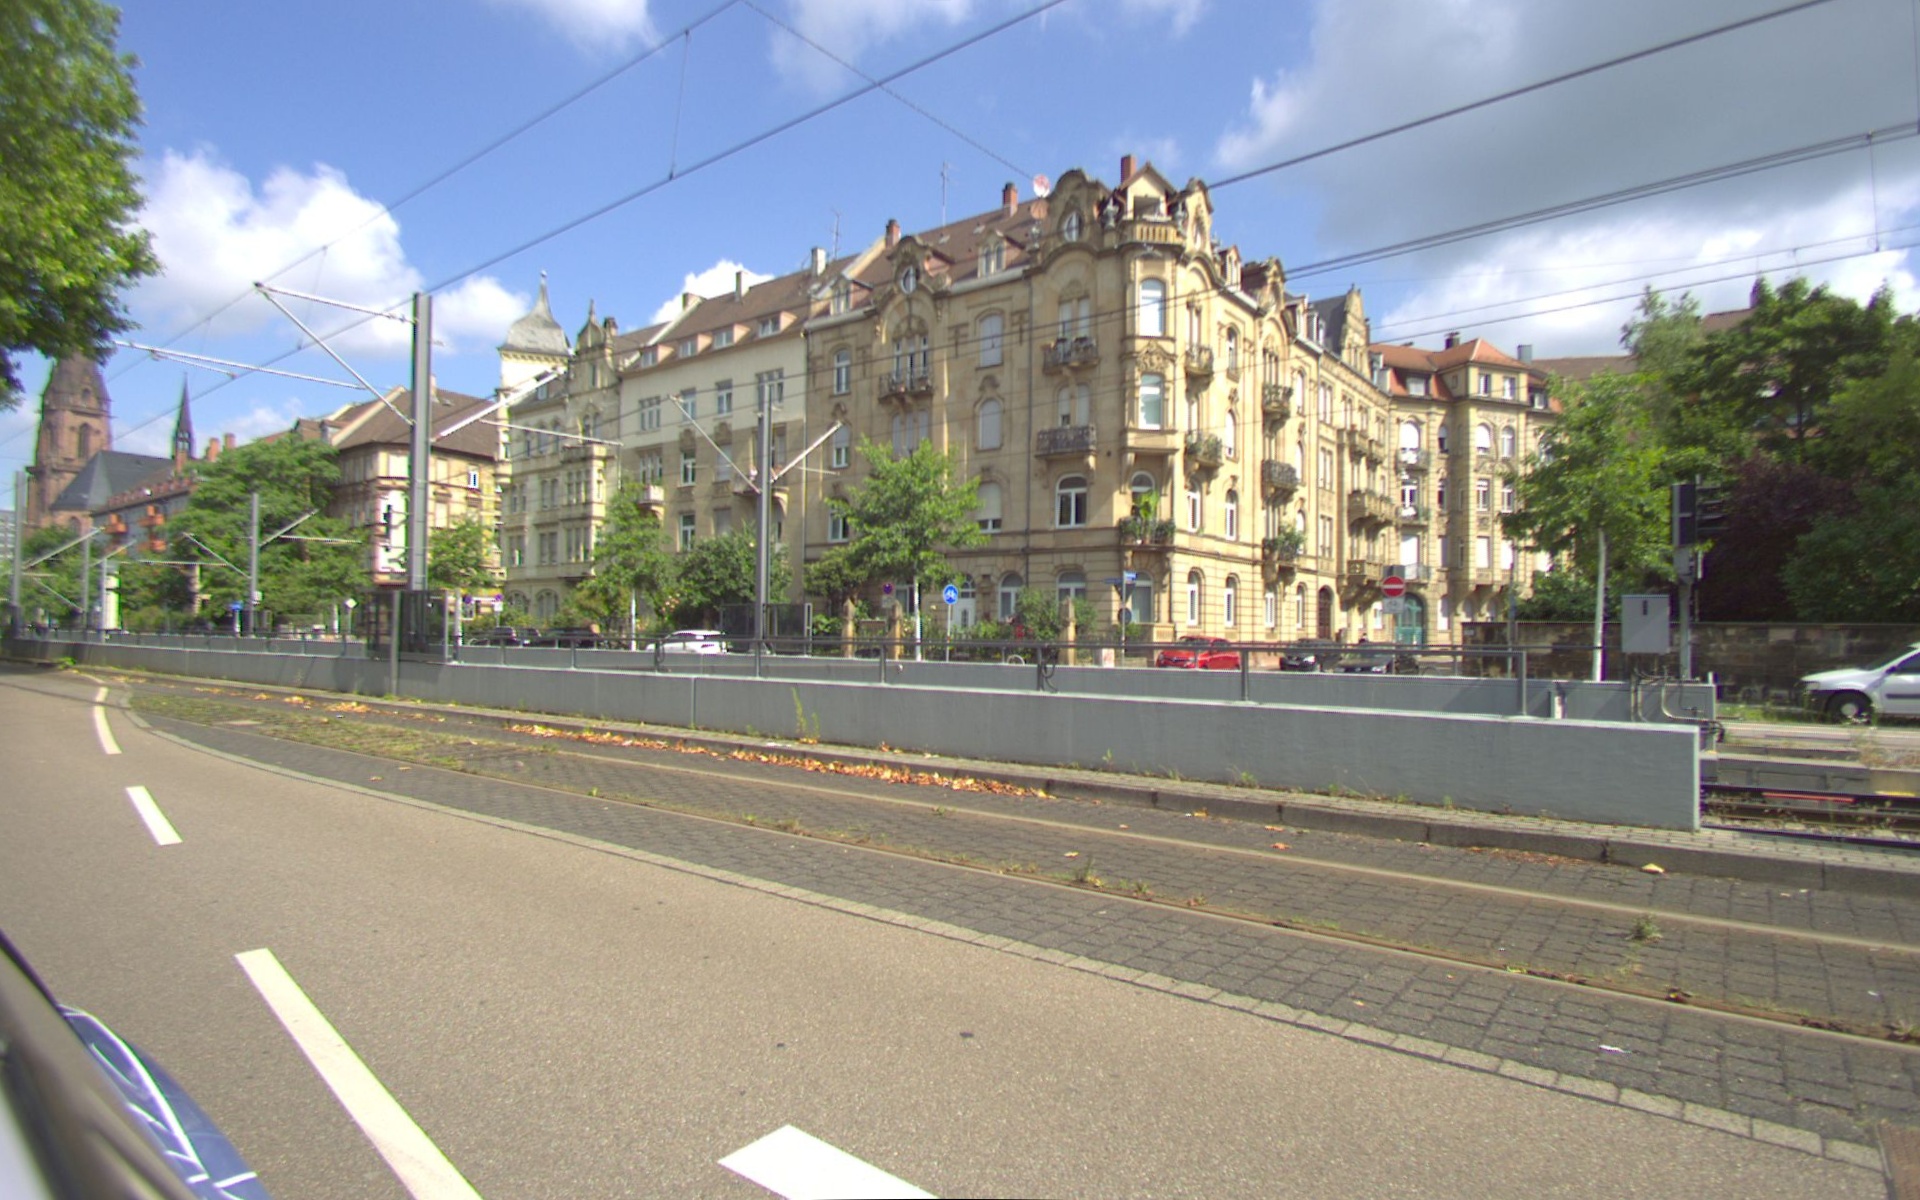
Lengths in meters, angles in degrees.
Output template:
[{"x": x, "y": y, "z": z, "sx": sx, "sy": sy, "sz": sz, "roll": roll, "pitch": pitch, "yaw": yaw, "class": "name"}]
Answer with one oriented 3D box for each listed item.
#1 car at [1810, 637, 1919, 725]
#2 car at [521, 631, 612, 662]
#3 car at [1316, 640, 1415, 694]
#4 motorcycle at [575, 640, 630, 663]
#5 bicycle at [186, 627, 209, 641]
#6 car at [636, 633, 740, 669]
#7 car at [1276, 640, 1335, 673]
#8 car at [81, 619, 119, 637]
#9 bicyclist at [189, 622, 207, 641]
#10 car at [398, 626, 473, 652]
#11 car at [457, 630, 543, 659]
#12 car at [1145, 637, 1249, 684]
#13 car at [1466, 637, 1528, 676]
[{"x": 17.997, "y": 1.435, "z": 17.876, "sx": 4.406, "sy": 1.516, "sz": 1.913, "roll": -1, "pitch": -2, "yaw": 37, "class": "car"}, {"x": -17.909, "y": 2.077, "z": 46.029, "sx": 4.092, "sy": 1.337, "sz": 2.001, "roll": -1, "pitch": -3, "yaw": 36, "class": "car"}, {"x": 12.151, "y": 1.955, "z": 30.177, "sx": 1.721, "sy": 1.475, "sz": 3.924, "roll": -1, "pitch": -3, "yaw": 38, "class": "car"}, {"x": -15.597, "y": 2.247, "z": 44.203, "sx": 1.415, "sy": 0.949, "sz": 1.744, "roll": -1, "pitch": -4, "yaw": 37, "class": "motorcycle"}, {"x": -55.762, "y": 2.471, "z": 74.007, "sx": 2.138, "sy": 0.986, "sz": 0.768, "roll": -1, "pitch": -4, "yaw": 39, "class": "bicycle"}, {"x": -10.931, "y": 2.011, "z": 40.537, "sx": 4.304, "sy": 1.338, "sz": 1.735, "roll": -1, "pitch": -3, "yaw": 36, "class": "car"}, {"x": 14.665, "y": 2.382, "z": 42.895, "sx": 1.500, "sy": 1.323, "sz": 3.200, "roll": -1, "pitch": -3, "yaw": 36, "class": "car"}, {"x": -81.685, "y": 2.630, "z": 96.112, "sx": 4.108, "sy": 1.650, "sz": 1.974, "roll": -1, "pitch": -3, "yaw": 38, "class": "car"}, {"x": -55.709, "y": 2.281, "z": 73.987, "sx": 1.048, "sy": 1.348, "sz": 0.760, "roll": -1, "pitch": -4, "yaw": 39, "class": "bicyclist"}, {"x": -34.266, "y": 2.514, "z": 66.184, "sx": 2.028, "sy": 1.618, "sz": 3.923, "roll": 0, "pitch": -2, "yaw": 29, "class": "car"}, {"x": -22.475, "y": 2.136, "z": 49.373, "sx": 4.720, "sy": 1.337, "sz": 1.929, "roll": -1, "pitch": -3, "yaw": 39, "class": "car"}, {"x": 8.053, "y": 1.993, "z": 34.228, "sx": 1.932, "sy": 1.475, "sz": 3.740, "roll": -1, "pitch": -3, "yaw": 41, "class": "car"}, {"x": 24.185, "y": 2.513, "z": 45.494, "sx": 1.929, "sy": 1.683, "sz": 3.745, "roll": -1, "pitch": -3, "yaw": 36, "class": "car"}]
